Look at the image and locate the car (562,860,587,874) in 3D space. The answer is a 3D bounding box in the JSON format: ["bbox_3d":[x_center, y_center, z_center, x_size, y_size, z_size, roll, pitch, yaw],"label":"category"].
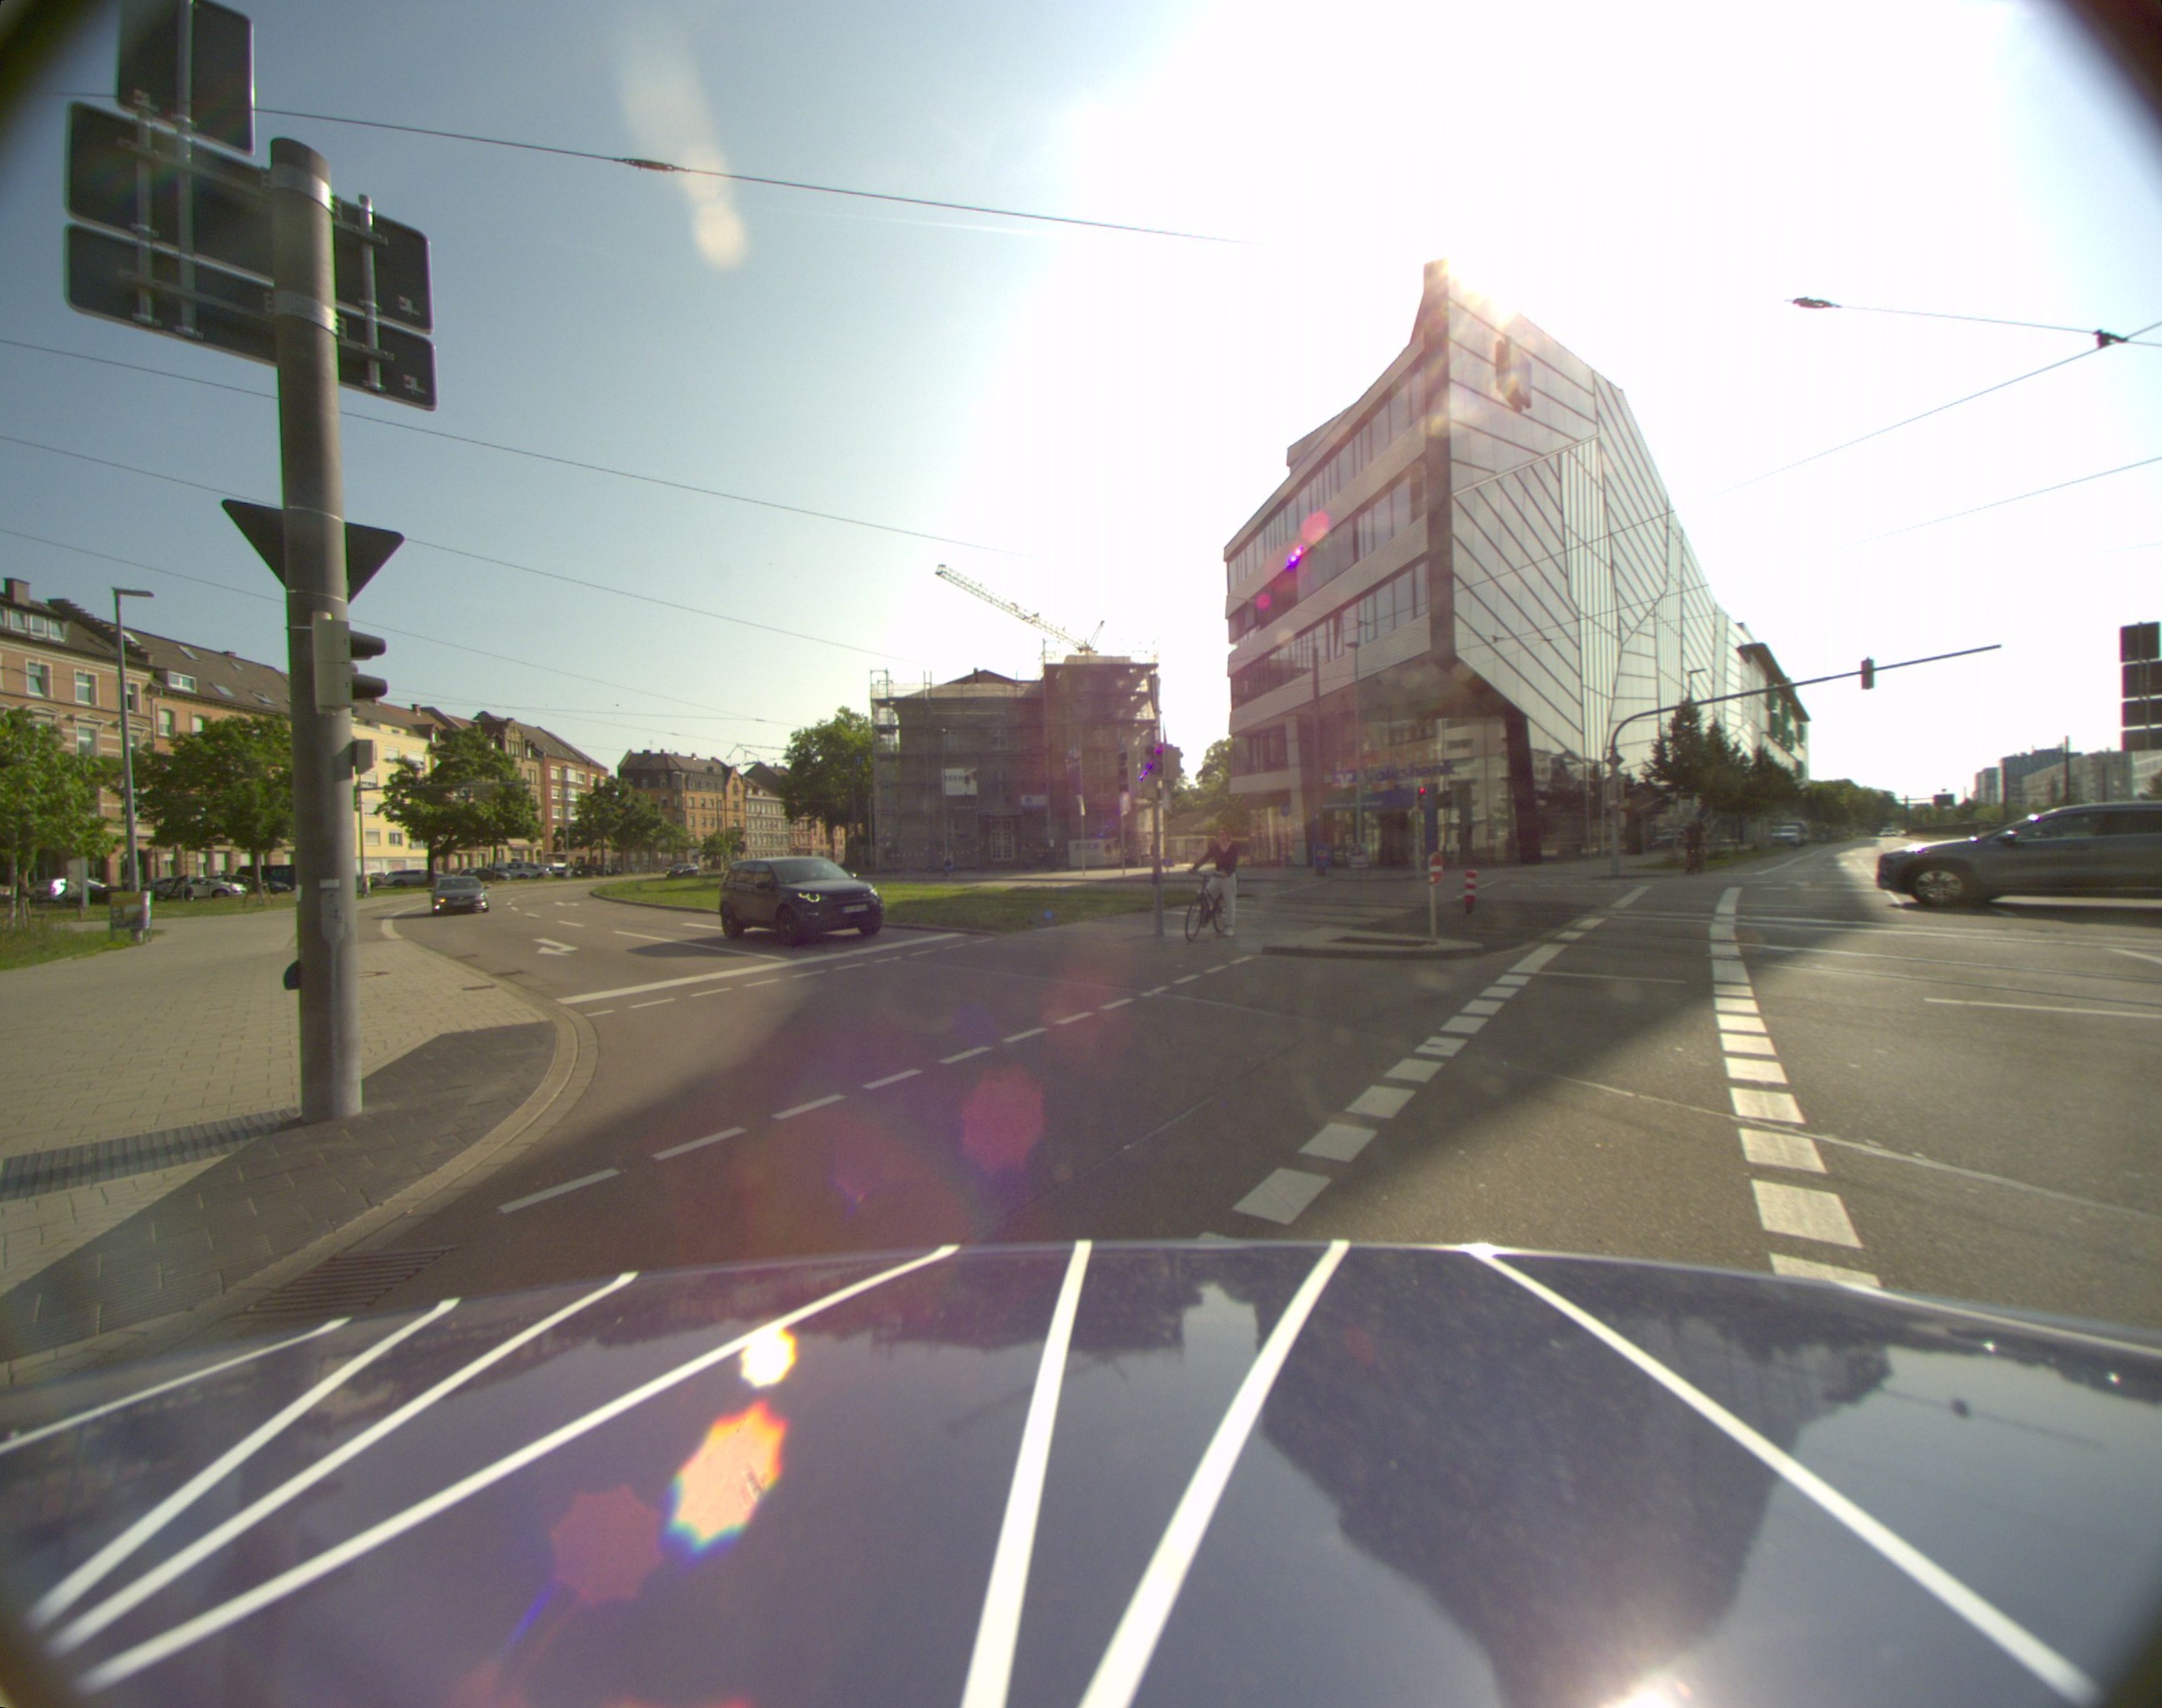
[{"bbox_3d":[-65.540,1.699,98.367,1.329,1.722,2.785,-2,1,2],"label":"car"}]

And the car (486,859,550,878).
[{"bbox_3d":[-56.453,1.447,76.226,1.717,1.827,4.937,-1,0,43],"label":"car"}]

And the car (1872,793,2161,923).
[{"bbox_3d":[15.515,0.002,11.322,1.958,1.773,4.804,-4,2,-25],"label":"car"}]

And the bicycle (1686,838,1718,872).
[{"bbox_3d":[21.267,0.010,26.009,1.963,1.050,0.418,-4,3,-38],"label":"bicycle"}]

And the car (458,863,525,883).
[{"bbox_3d":[-54.144,1.699,69.862,4.748,1.755,1.717,-1,0,-35],"label":"car"}]

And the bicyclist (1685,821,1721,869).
[{"bbox_3d":[21.259,-0.301,25.966,0.933,1.577,0.781,-4,3,-38],"label":"bicyclist"}]

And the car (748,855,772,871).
[{"bbox_3d":[-44.585,1.235,105.587,2.000,2.002,3.997,-2,1,-8],"label":"car"}]

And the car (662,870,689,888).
[{"bbox_3d":[-40.502,2.454,75.943,1.658,1.625,3.993,-2,1,-19],"label":"car"}]

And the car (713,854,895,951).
[{"bbox_3d":[-5.755,0.893,15.514,4.209,1.668,1.807,-1,0,44],"label":"car"}]

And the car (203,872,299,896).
[{"bbox_3d":[-51.606,1.838,47.357,3.863,1.242,1.717,-2,1,-43],"label":"car"}]

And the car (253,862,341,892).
[{"bbox_3d":[-52.165,1.503,50.667,3.863,1.795,1.781,-2,1,-40],"label":"car"}]

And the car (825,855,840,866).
[{"bbox_3d":[-47.164,1.242,144.369,2.000,1.968,3.995,-3,2,-10],"label":"car"}]

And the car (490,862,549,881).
[{"bbox_3d":[-54.805,1.656,74.211,4.429,1.755,1.717,-1,0,-43],"label":"car"}]

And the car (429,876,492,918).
[{"bbox_3d":[-24.198,1.609,29.569,1.647,1.411,3.884,-3,1,-42],"label":"car"}]

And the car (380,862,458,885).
[{"bbox_3d":[-54.657,1.565,62.856,4.748,1.755,1.717,-1,0,-35],"label":"car"}]

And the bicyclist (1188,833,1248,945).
[{"bbox_3d":[2.180,0.540,12.065,0.668,1.693,0.638,-1,3,35],"label":"bicyclist"}]

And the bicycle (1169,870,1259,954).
[{"bbox_3d":[2.136,0.868,12.002,0.668,1.092,1.808,-1,3,35],"label":"bicycle"}]

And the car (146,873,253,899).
[{"bbox_3d":[-51.565,1.842,44.552,3.863,1.242,1.717,-2,1,-43],"label":"car"}]
